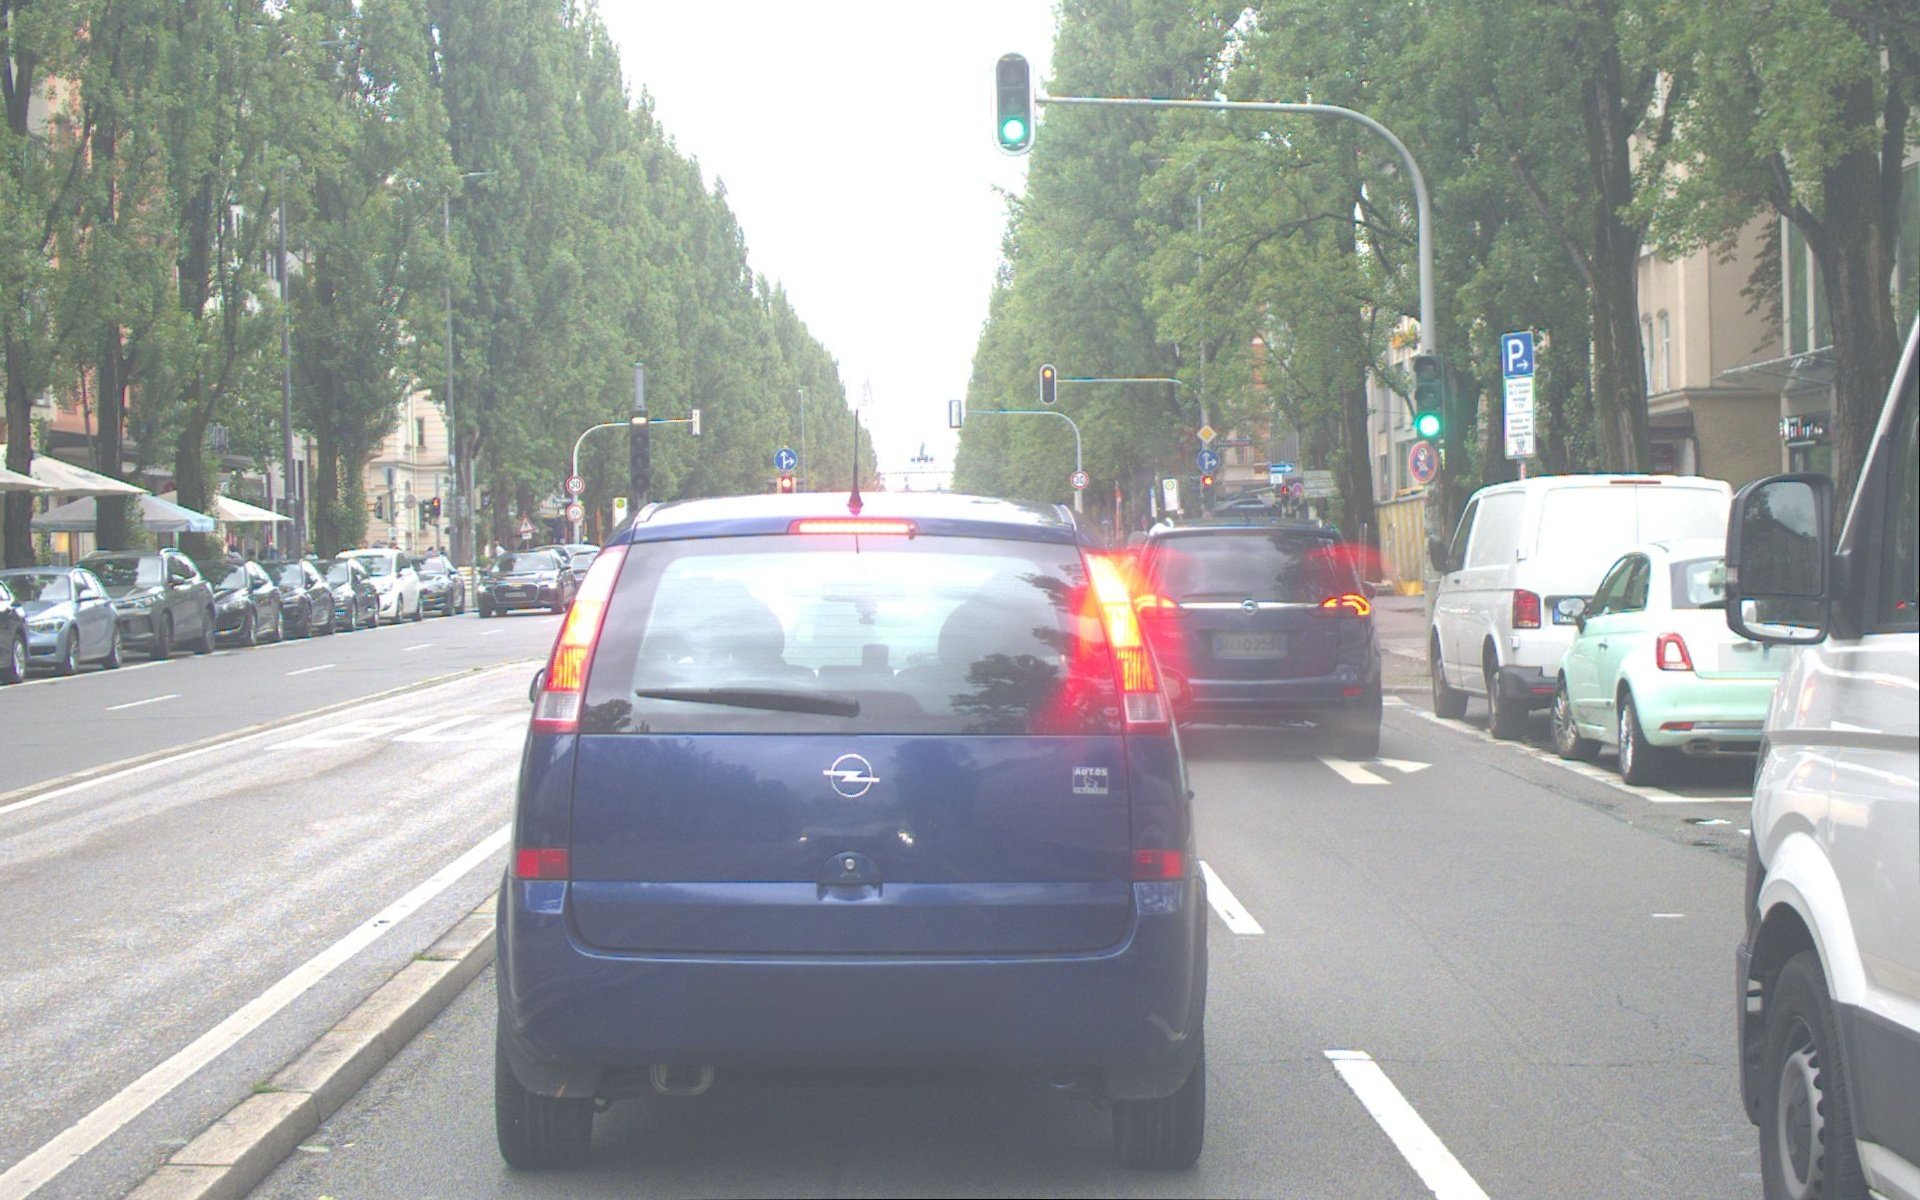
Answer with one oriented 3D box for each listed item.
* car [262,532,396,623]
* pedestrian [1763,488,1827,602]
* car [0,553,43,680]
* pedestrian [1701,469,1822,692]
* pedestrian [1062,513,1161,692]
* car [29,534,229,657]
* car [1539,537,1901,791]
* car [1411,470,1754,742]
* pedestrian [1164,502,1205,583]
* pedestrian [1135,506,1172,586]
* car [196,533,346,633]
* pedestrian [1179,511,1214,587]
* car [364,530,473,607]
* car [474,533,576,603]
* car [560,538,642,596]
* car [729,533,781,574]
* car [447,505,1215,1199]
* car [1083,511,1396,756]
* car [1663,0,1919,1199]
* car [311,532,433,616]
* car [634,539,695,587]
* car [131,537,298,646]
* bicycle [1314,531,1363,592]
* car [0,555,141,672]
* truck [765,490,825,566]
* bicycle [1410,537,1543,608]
[{"bbox_3d":[-12.470,-0.476,68.148,1.866,1.660,4.120,-3,1,-1],"label":"car"},{"bbox_3d":[12.559,-0.822,51.717,0.673,1.680,0.759,-2,0,-5],"label":"pedestrian"},{"bbox_3d":[-12.221,0.248,40.212,1.798,1.483,4.351,-3,1,-1],"label":"car"},{"bbox_3d":[6.498,-0.165,27.900,0.827,1.767,0.870,-1,1,6],"label":"pedestrian"},{"bbox_3d":[1.445,0.020,32.802,0.859,1.678,0.627,-1,1,-3],"label":"pedestrian"},{"bbox_3d":[-12.273,-0.107,51.040,1.866,1.660,4.401,-3,1,-1],"label":"car"},{"bbox_3d":[4.762,0.347,21.956,1.541,1.487,3.523,0,1,0],"label":"car"},{"bbox_3d":[4.783,-0.005,27.058,1.787,1.939,4.731,0,1,-1],"label":"car"},{"bbox_3d":[5.131,-1.314,78.684,0.719,1.820,0.888,1,1,-10],"label":"pedestrian"},{"bbox_3d":[4.425,-1.239,78.813,0.636,1.820,0.888,1,1,-10],"label":"pedestrian"},{"bbox_3d":[-12.510,-0.342,62.622,1.866,1.660,4.120,-3,1,-1],"label":"car"},{"bbox_3d":[5.727,-1.233,83.240,0.636,1.820,0.888,1,1,-10],"label":"pedestrian"},{"bbox_3d":[-12.682,-0.761,80.682,1.866,1.660,4.120,-3,1,-1],"label":"car"},{"bbox_3d":[-9.872,-0.759,78.288,1.697,1.457,4.713,-3,1,-1],"label":"car"},{"bbox_3d":[-9.600,-0.912,92.217,1.745,1.429,4.130,-3,1,-1],"label":"car"},{"bbox_3d":[-7.606,-1.732,127.640,1.735,1.460,3.365,-1,1,-1],"label":"car"},{"bbox_3d":[-0.292,0.533,9.501,1.671,1.563,4.000,0,1,0],"label":"car"},{"bbox_3d":[1.920,0.177,24.720,1.896,1.616,4.000,0,1,0],"label":"car"},{"bbox_3d":[2.600,0.211,4.217,2.063,2.484,6.731,0,1,0],"label":"car"},{"bbox_3d":[-12.515,-0.584,73.409,1.866,1.660,4.120,-3,1,-1],"label":"car"},{"bbox_3d":[-10.592,-1.344,123.405,1.866,1.660,4.120,-1,1,-1],"label":"car"},{"bbox_3d":[-12.442,-0.170,57.572,1.866,1.660,4.120,-3,1,-1],"label":"car"},{"bbox_3d":[8.534,-0.880,77.666,0.772,1.344,2.449,-1,1,-1],"label":"bicycle"},{"bbox_3d":[-12.251,0.166,45.677,1.733,1.421,4.144,-3,1,-1],"label":"car"},{"bbox_3d":[-7.504,-3.301,156.993,2.383,3.335,7.111,-1,1,-1],"label":"truck"},{"bbox_3d":[9.208,-0.492,61.326,2.227,1.200,0.627,-2,1,-2],"label":"bicycle"}]
